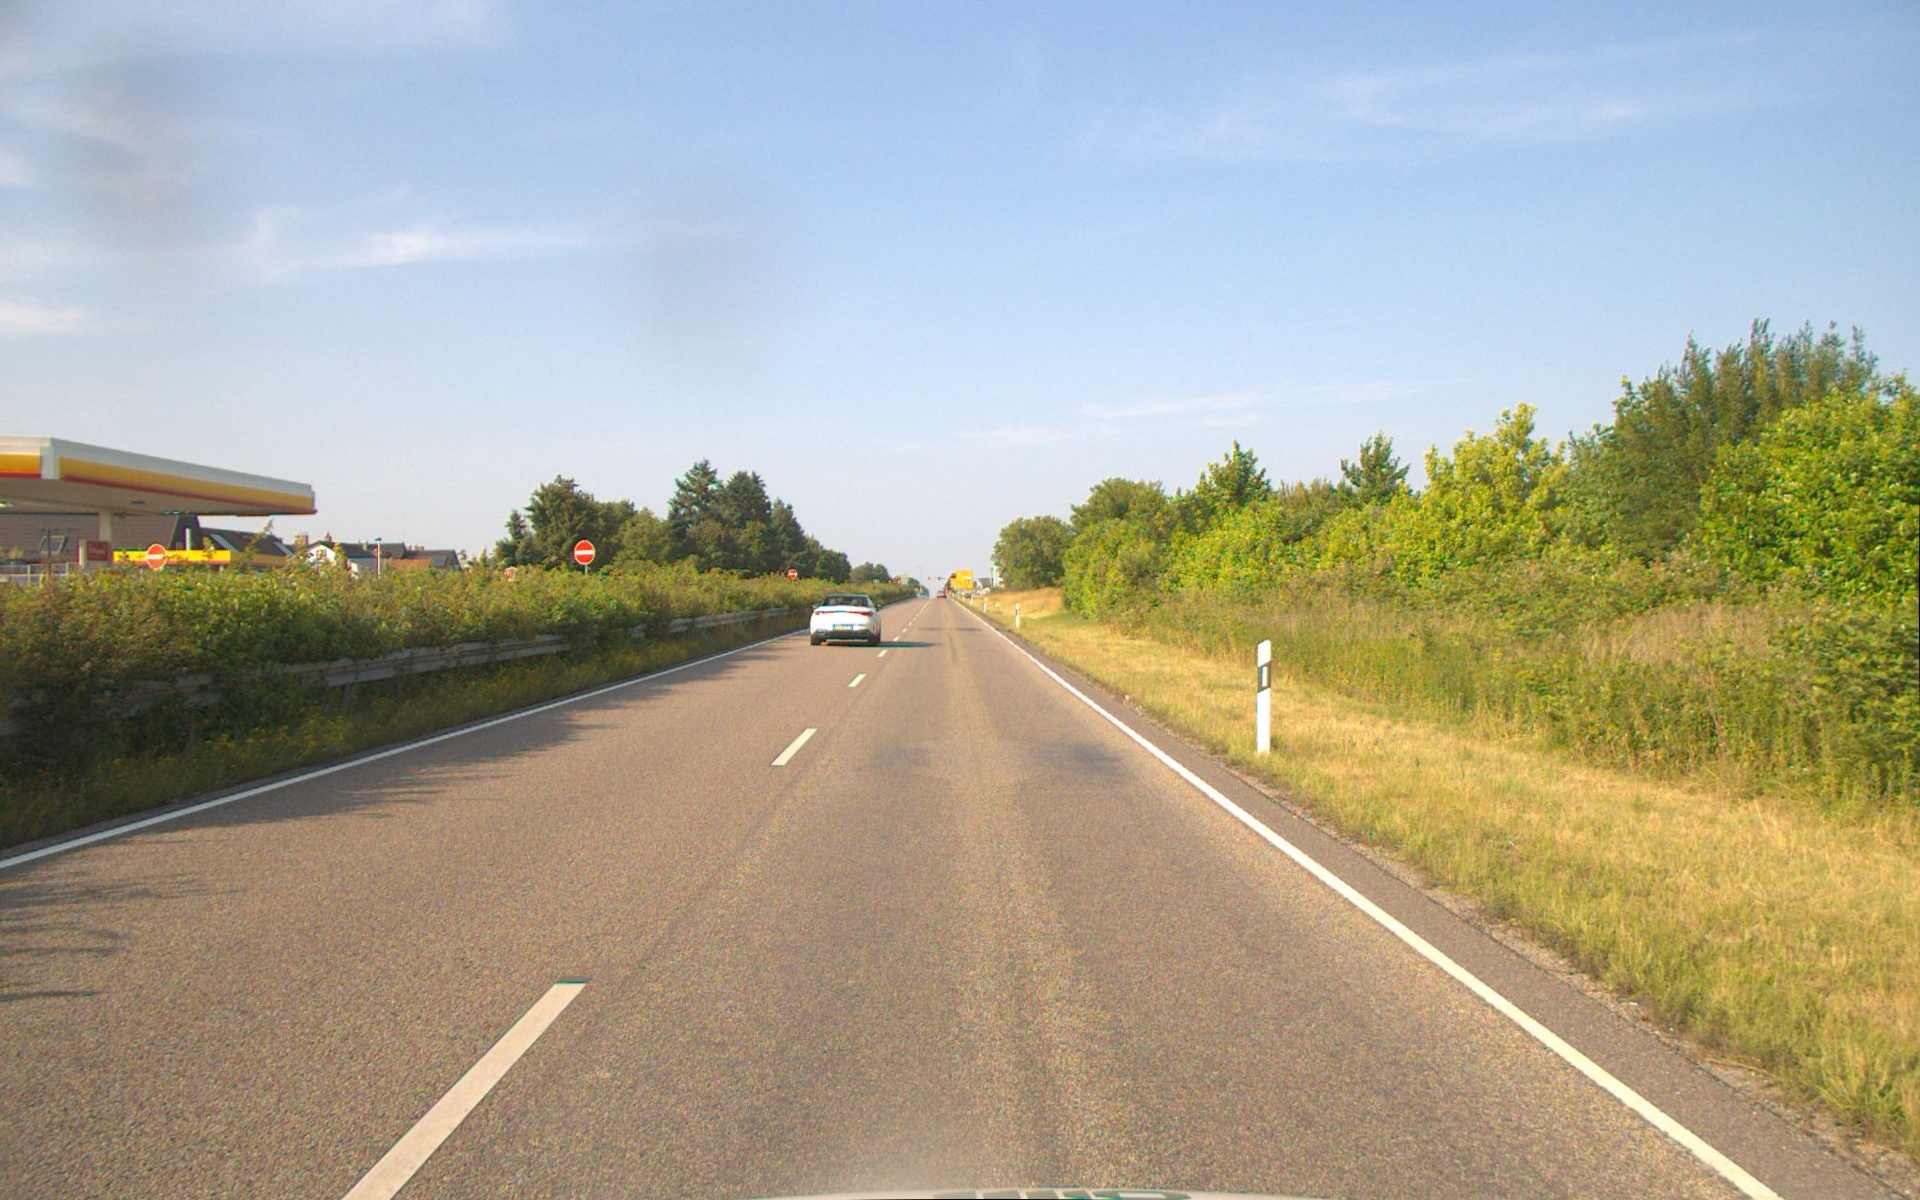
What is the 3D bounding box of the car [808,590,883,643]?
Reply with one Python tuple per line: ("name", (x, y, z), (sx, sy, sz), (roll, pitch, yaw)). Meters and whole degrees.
("car", (-3.144, 0.444, 46.250), (1.735, 1.361, 4.949), (1, 0, 0))
